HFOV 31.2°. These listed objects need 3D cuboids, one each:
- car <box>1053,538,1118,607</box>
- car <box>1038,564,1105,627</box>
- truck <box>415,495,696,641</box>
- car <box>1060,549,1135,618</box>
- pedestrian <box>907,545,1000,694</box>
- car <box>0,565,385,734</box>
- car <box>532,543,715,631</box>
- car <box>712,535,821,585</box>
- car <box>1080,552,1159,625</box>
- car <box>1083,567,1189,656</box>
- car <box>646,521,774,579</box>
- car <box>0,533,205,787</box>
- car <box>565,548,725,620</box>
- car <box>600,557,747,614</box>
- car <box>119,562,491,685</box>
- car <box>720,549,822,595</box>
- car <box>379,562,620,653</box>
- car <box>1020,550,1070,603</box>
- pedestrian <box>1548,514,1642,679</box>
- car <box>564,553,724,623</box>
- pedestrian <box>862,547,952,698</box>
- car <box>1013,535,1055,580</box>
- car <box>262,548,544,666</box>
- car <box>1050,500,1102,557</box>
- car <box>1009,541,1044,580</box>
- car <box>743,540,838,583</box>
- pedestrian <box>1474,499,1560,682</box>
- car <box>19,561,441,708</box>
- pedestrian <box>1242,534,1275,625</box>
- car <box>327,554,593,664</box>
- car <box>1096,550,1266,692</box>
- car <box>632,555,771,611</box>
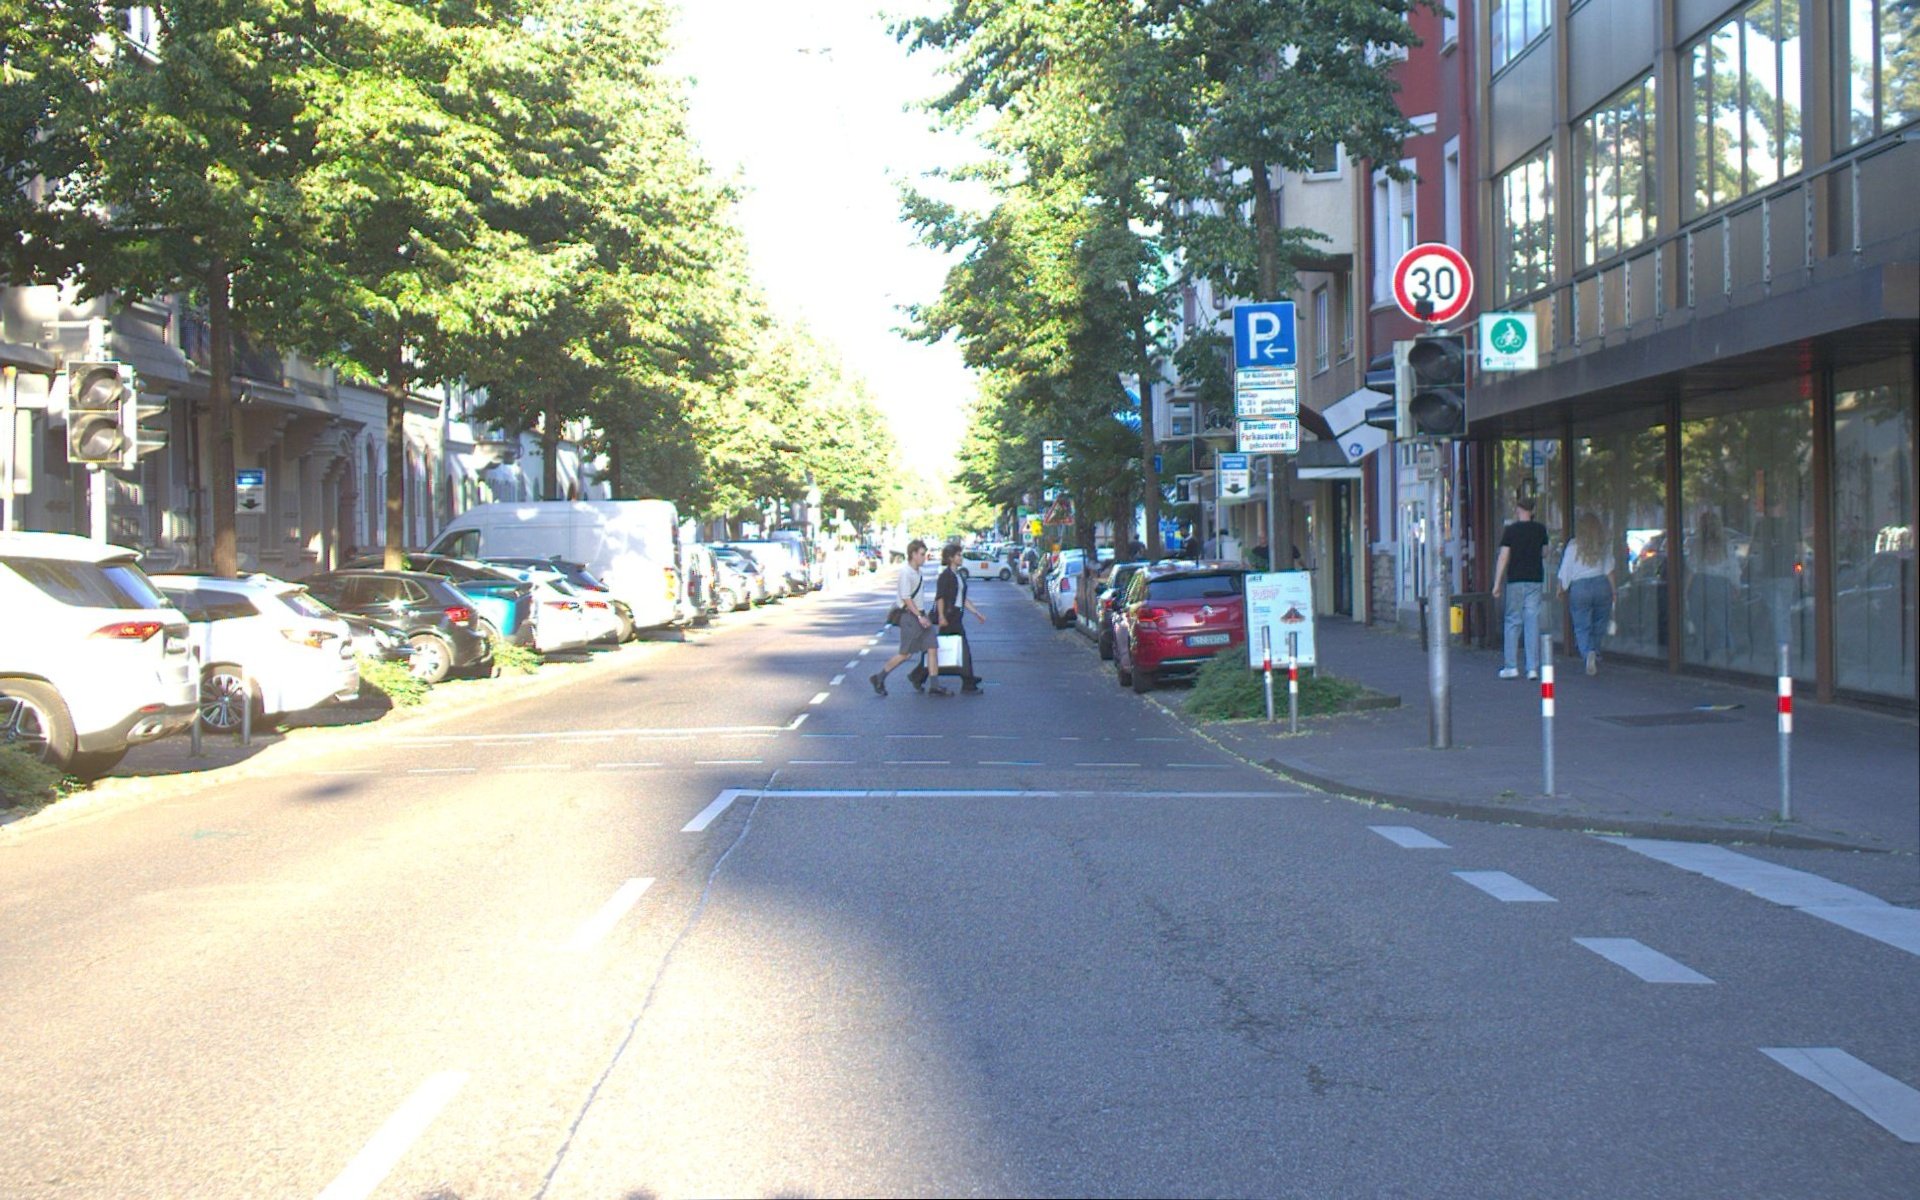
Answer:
[{"bbox_3d":[2.902,-0.631,79.970,1.308,1.594,2.661,0,0,-3],"label":"car"},{"bbox_3d":[2.351,-0.098,72.764,1.206,1.296,2.661,0,0,-3],"label":"car"},{"bbox_3d":[-7.440,-0.600,63.603,4.941,2.606,2.000,-1,1,0],"label":"truck"},{"bbox_3d":[2.616,-0.318,65.729,1.206,1.296,2.661,0,0,-3],"label":"car"},{"bbox_3d":[-0.072,0.222,39.399,0.721,1.677,0.757,0,1,-40],"label":"pedestrian"},{"bbox_3d":[-7.631,0.436,32.145,4.175,1.502,2.000,0,1,0],"label":"car"},{"bbox_3d":[-7.200,-0.292,73.873,3.739,1.852,2.000,0,1,0],"label":"car"},{"bbox_3d":[-6.802,-1.417,121.074,3.739,1.702,2.000,0,1,0],"label":"car"},{"bbox_3d":[2.890,-0.208,62.525,1.206,1.296,2.661,0,0,-3],"label":"car"},{"bbox_3d":[2.664,0.171,52.516,1.304,1.288,3.014,1,0,-3],"label":"car"},{"bbox_3d":[-7.554,-1.524,104.128,3.739,1.702,2.000,0,1,0],"label":"car"},{"bbox_3d":[-7.470,0.379,24.023,3.989,1.702,1.833,0,1,0],"label":"car"},{"bbox_3d":[-7.721,-0.412,84.502,3.739,1.702,2.000,-1,1,0],"label":"car"},{"bbox_3d":[-7.622,-0.388,91.658,3.739,1.445,2.000,-1,1,0],"label":"car"},{"bbox_3d":[-8.438,0.283,44.555,4.426,1.498,2.000,-1,1,0],"label":"car"},{"bbox_3d":[-7.134,-1.079,130.144,3.739,1.702,2.000,0,1,0],"label":"car"},{"bbox_3d":[-7.622,0.115,57.173,3.739,1.445,2.000,-1,1,0],"label":"car"},{"bbox_3d":[2.563,-0.707,103.869,1.308,1.594,2.661,0,0,-3],"label":"car"},{"bbox_3d":[6.598,-0.044,35.739,0.765,1.683,0.786,-2,1,-2],"label":"pedestrian"},{"bbox_3d":[-7.352,-0.286,80.211,3.586,1.589,1.701,-1,1,0],"label":"car"},{"bbox_3d":[-0.594,0.242,38.516,0.714,1.667,0.710,-1,1,-40],"label":"pedestrian"},{"bbox_3d":[2.646,-1.525,123.411,1.308,1.594,2.661,0,0,-3],"label":"car"},{"bbox_3d":[-7.971,0.086,49.441,3.739,1.636,2.000,0,1,0],"label":"car"},{"bbox_3d":[3.331,-2.047,99.057,1.308,1.594,2.661,0,0,-3],"label":"car"},{"bbox_3d":[2.794,-1.663,145.303,1.308,1.594,2.661,0,0,-3],"label":"car"},{"bbox_3d":[-6.820,-1.572,138.811,3.739,1.702,2.000,0,1,0],"label":"car"},{"bbox_3d":[5.779,-0.104,35.693,0.714,1.859,0.680,-1,1,-2],"label":"pedestrian"},{"bbox_3d":[-8.351,0.376,39.614,4.426,1.594,2.000,-1,1,0],"label":"car"},{"bbox_3d":[5.328,-0.366,61.353,0.534,1.616,0.534,0,1,1],"label":"pedestrian"},{"bbox_3d":[-7.547,0.113,52.165,3.739,1.590,2.000,-1,1,0],"label":"car"},{"bbox_3d":[2.576,0.228,40.668,1.576,1.537,3.397,-3,0,-3],"label":"car"},{"bbox_3d":[-7.248,-0.485,96.497,3.739,1.487,2.000,-1,1,0],"label":"car"}]
